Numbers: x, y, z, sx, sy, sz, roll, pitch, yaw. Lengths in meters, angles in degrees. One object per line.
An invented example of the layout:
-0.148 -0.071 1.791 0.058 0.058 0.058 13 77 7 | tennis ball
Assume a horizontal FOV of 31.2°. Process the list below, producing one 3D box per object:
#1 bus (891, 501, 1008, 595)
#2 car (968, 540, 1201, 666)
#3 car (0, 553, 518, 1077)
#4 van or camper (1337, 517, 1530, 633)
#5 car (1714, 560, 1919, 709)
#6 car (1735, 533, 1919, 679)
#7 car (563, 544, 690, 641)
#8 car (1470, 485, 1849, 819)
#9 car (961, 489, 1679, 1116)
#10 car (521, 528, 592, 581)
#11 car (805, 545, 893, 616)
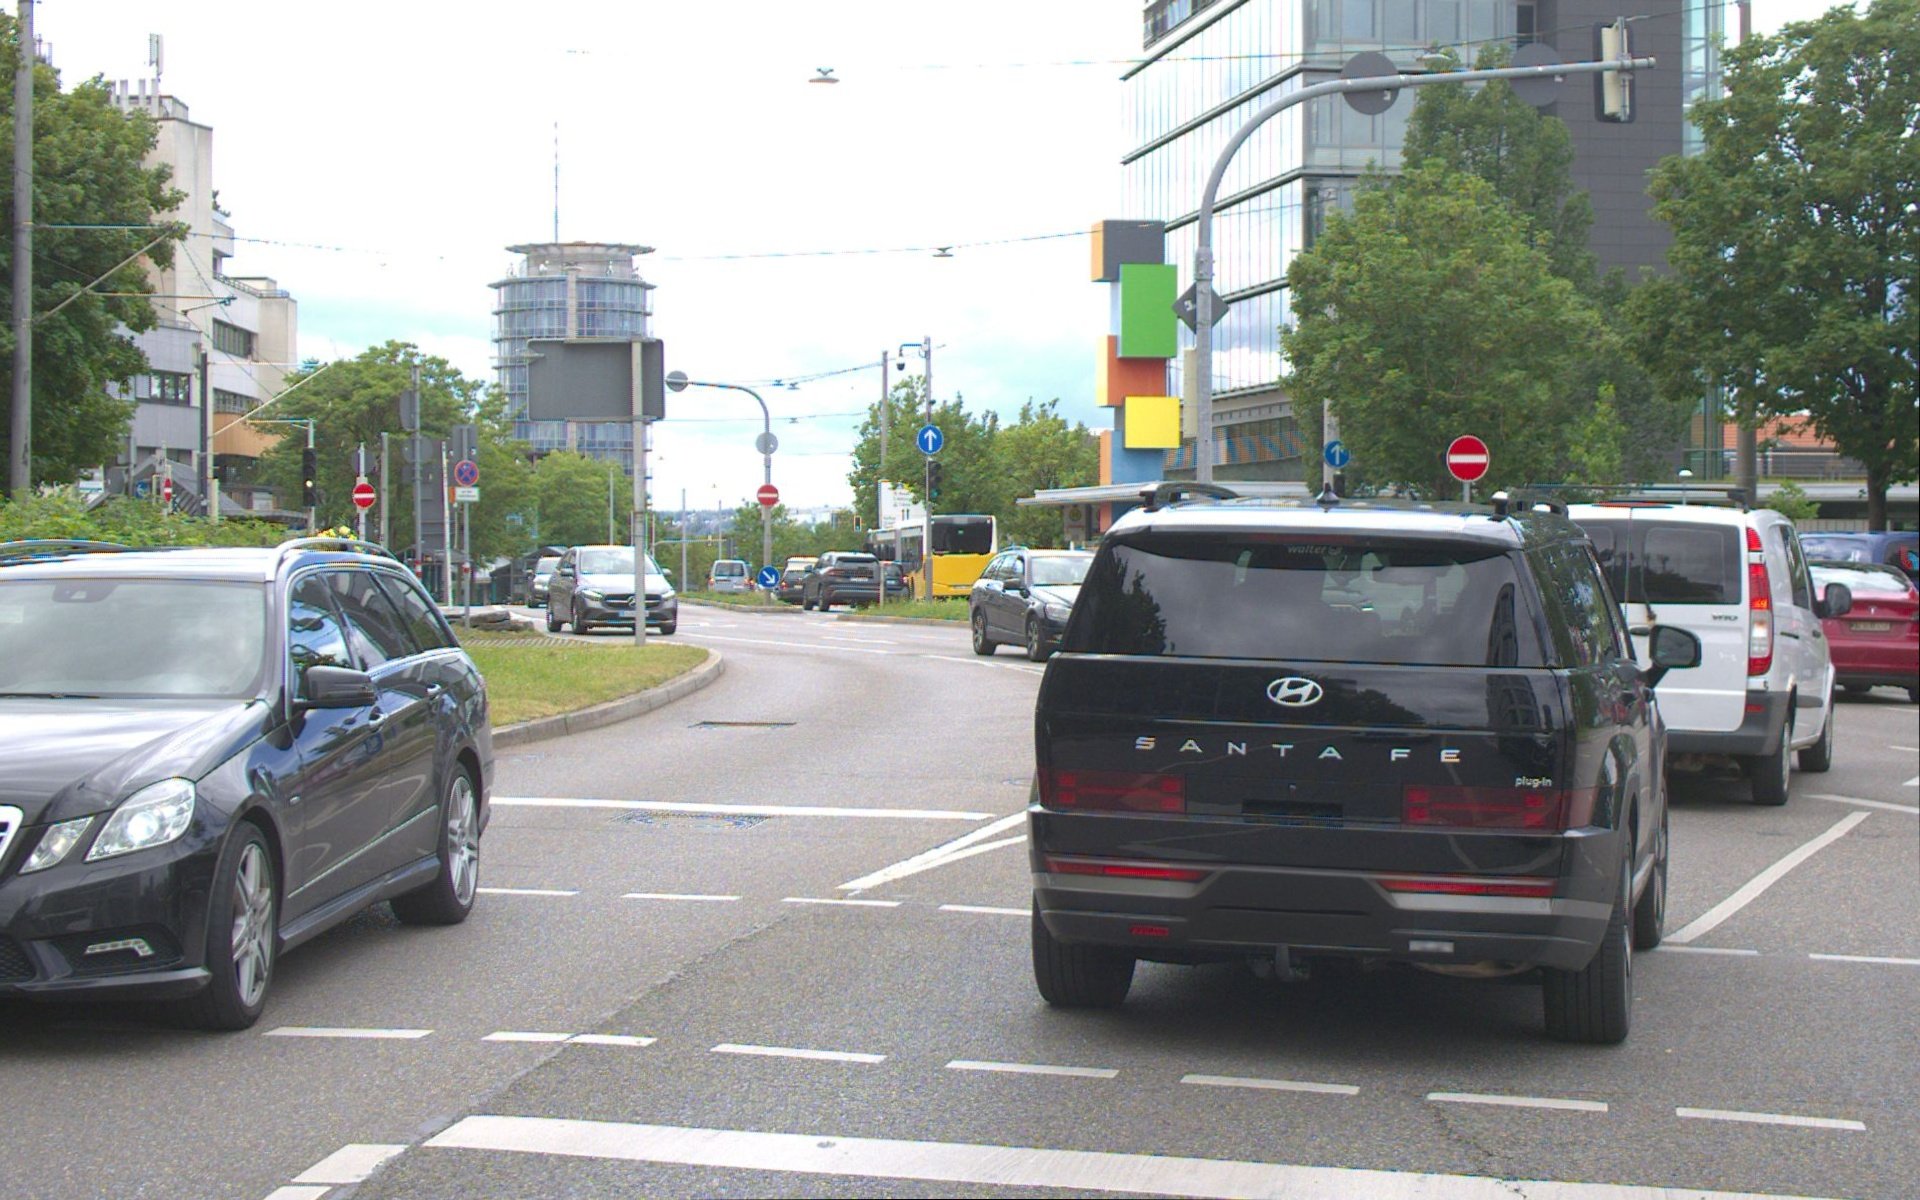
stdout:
-0.424 -1.767 118.947 2.966 3.106 9.246 -1 0 -7 | bus
1.534 0.003 44.316 1.782 1.421 4.397 1 2 -14 | car
-2.941 0.570 11.934 1.845 1.432 4.705 0 1 5 | car
8.441 -0.480 61.677 1.993 1.911 4.410 1 2 -12 | van or camper
9.208 0.323 36.247 1.873 1.413 4.442 2 1 5 | car
12.456 0.051 46.874 1.901 1.852 4.711 2 1 -11 | car
-5.979 -0.162 61.273 1.782 1.532 4.397 2 2 -11 | car
4.827 0.289 23.212 1.904 1.962 4.632 2 1 18 | car
1.472 0.548 12.134 1.903 1.725 4.443 2 1 13 | car
-11.540 -1.288 98.159 1.798 1.450 4.613 0 1 -9 | car
-3.137 -0.560 96.418 1.901 1.852 4.711 2 1 -8 | car
